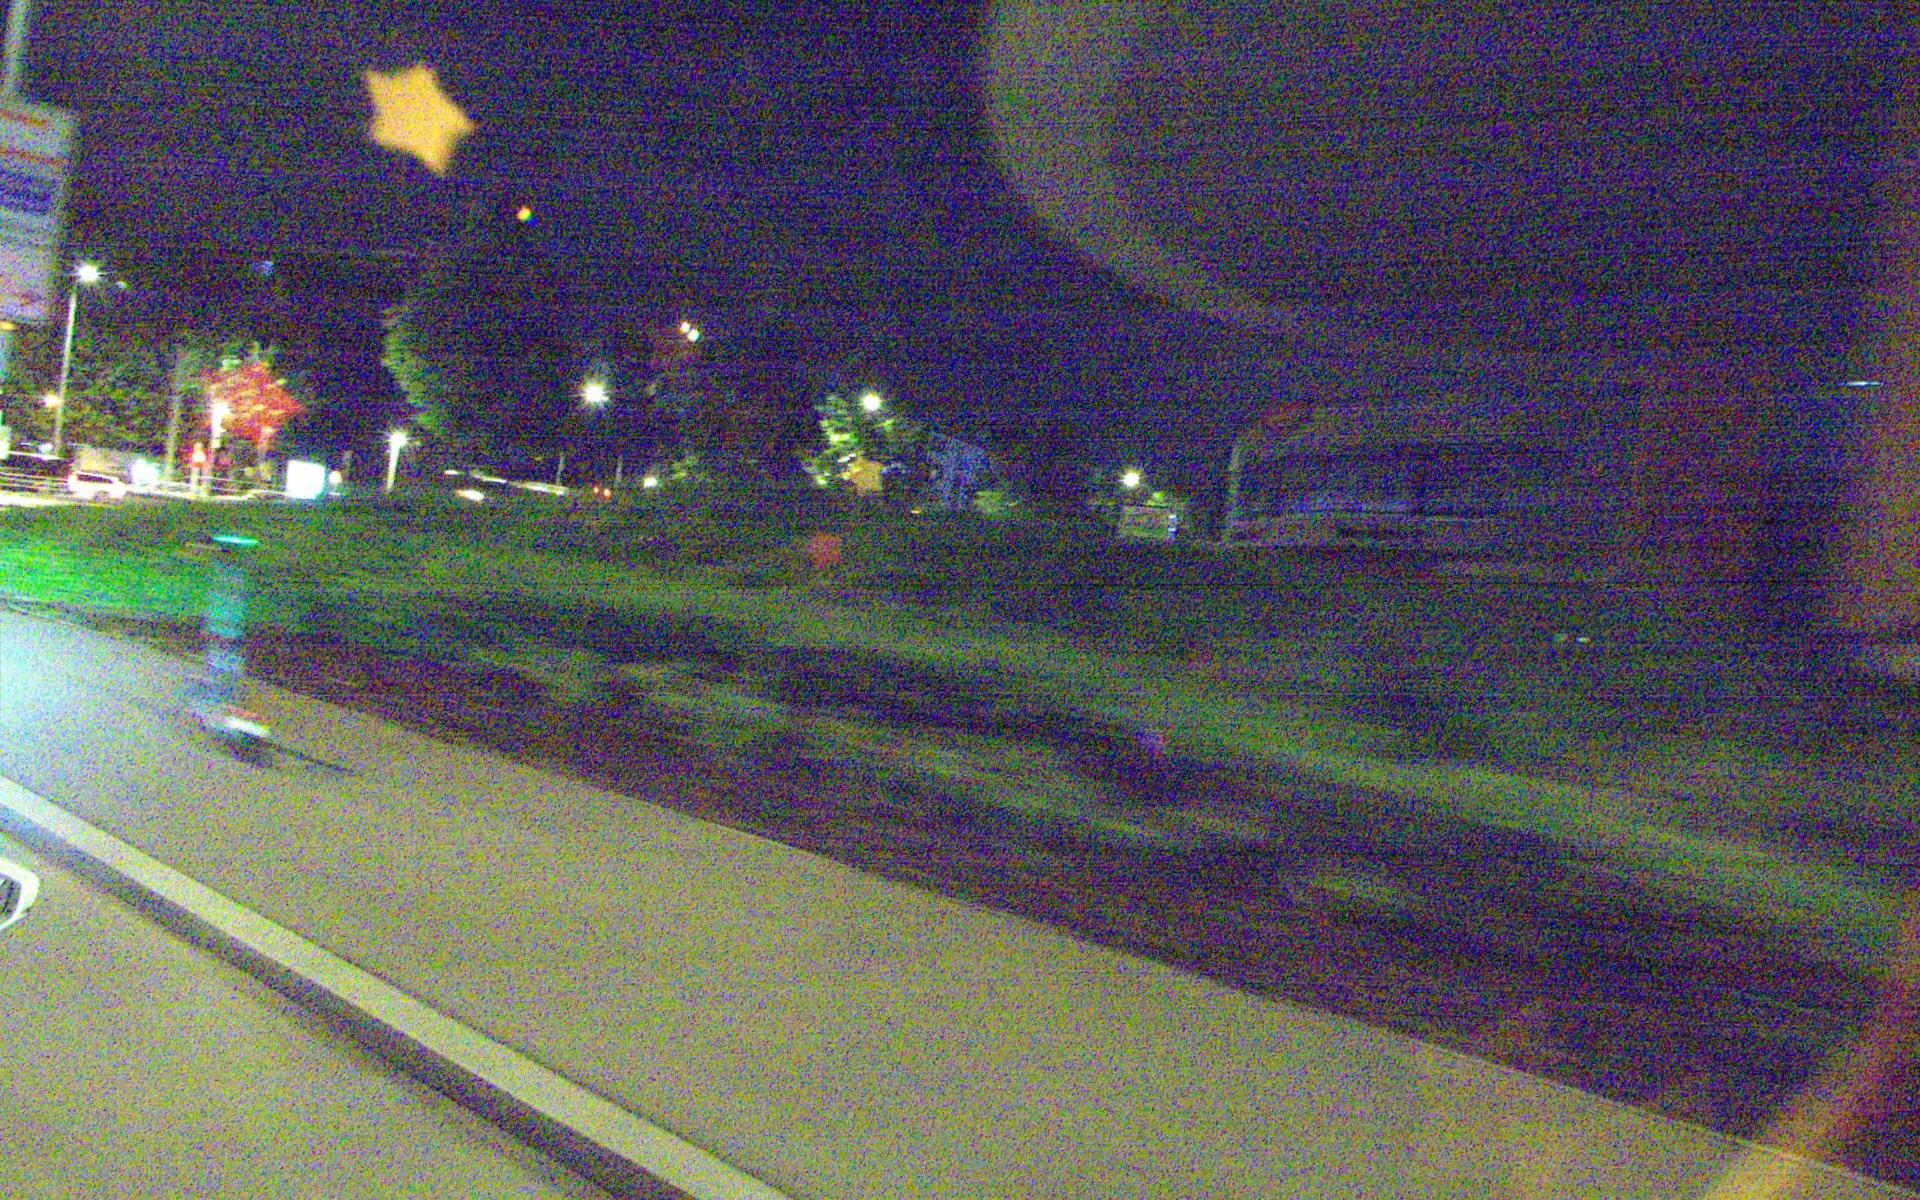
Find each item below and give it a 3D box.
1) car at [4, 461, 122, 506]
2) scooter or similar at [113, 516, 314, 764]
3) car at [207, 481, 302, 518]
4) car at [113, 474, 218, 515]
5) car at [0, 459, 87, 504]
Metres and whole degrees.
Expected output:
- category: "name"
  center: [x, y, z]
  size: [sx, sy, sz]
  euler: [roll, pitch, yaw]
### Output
- category: "car"
  center: [-43.405, -5.598, 48.739]
  size: [1.841, 1.637, 4.050]
  euler: [8, 3, 39]
- category: "scooter or similar"
  center: [-4.498, 0.200, 6.039]
  size: [1.298, 1.279, 0.494]
  euler: [7, 4, 32]
- category: "car"
  center: [-38.809, -5.500, 55.401]
  size: [1.859, 1.596, 3.975]
  euler: [8, 4, 41]
- category: "car"
  center: [-39.001, -5.158, 49.422]
  size: [1.733, 1.548, 3.757]
  euler: [8, 3, 39]
- category: "car"
  center: [-41.641, -5.319, 44.228]
  size: [1.969, 1.662, 4.607]
  euler: [8, 3, 36]
